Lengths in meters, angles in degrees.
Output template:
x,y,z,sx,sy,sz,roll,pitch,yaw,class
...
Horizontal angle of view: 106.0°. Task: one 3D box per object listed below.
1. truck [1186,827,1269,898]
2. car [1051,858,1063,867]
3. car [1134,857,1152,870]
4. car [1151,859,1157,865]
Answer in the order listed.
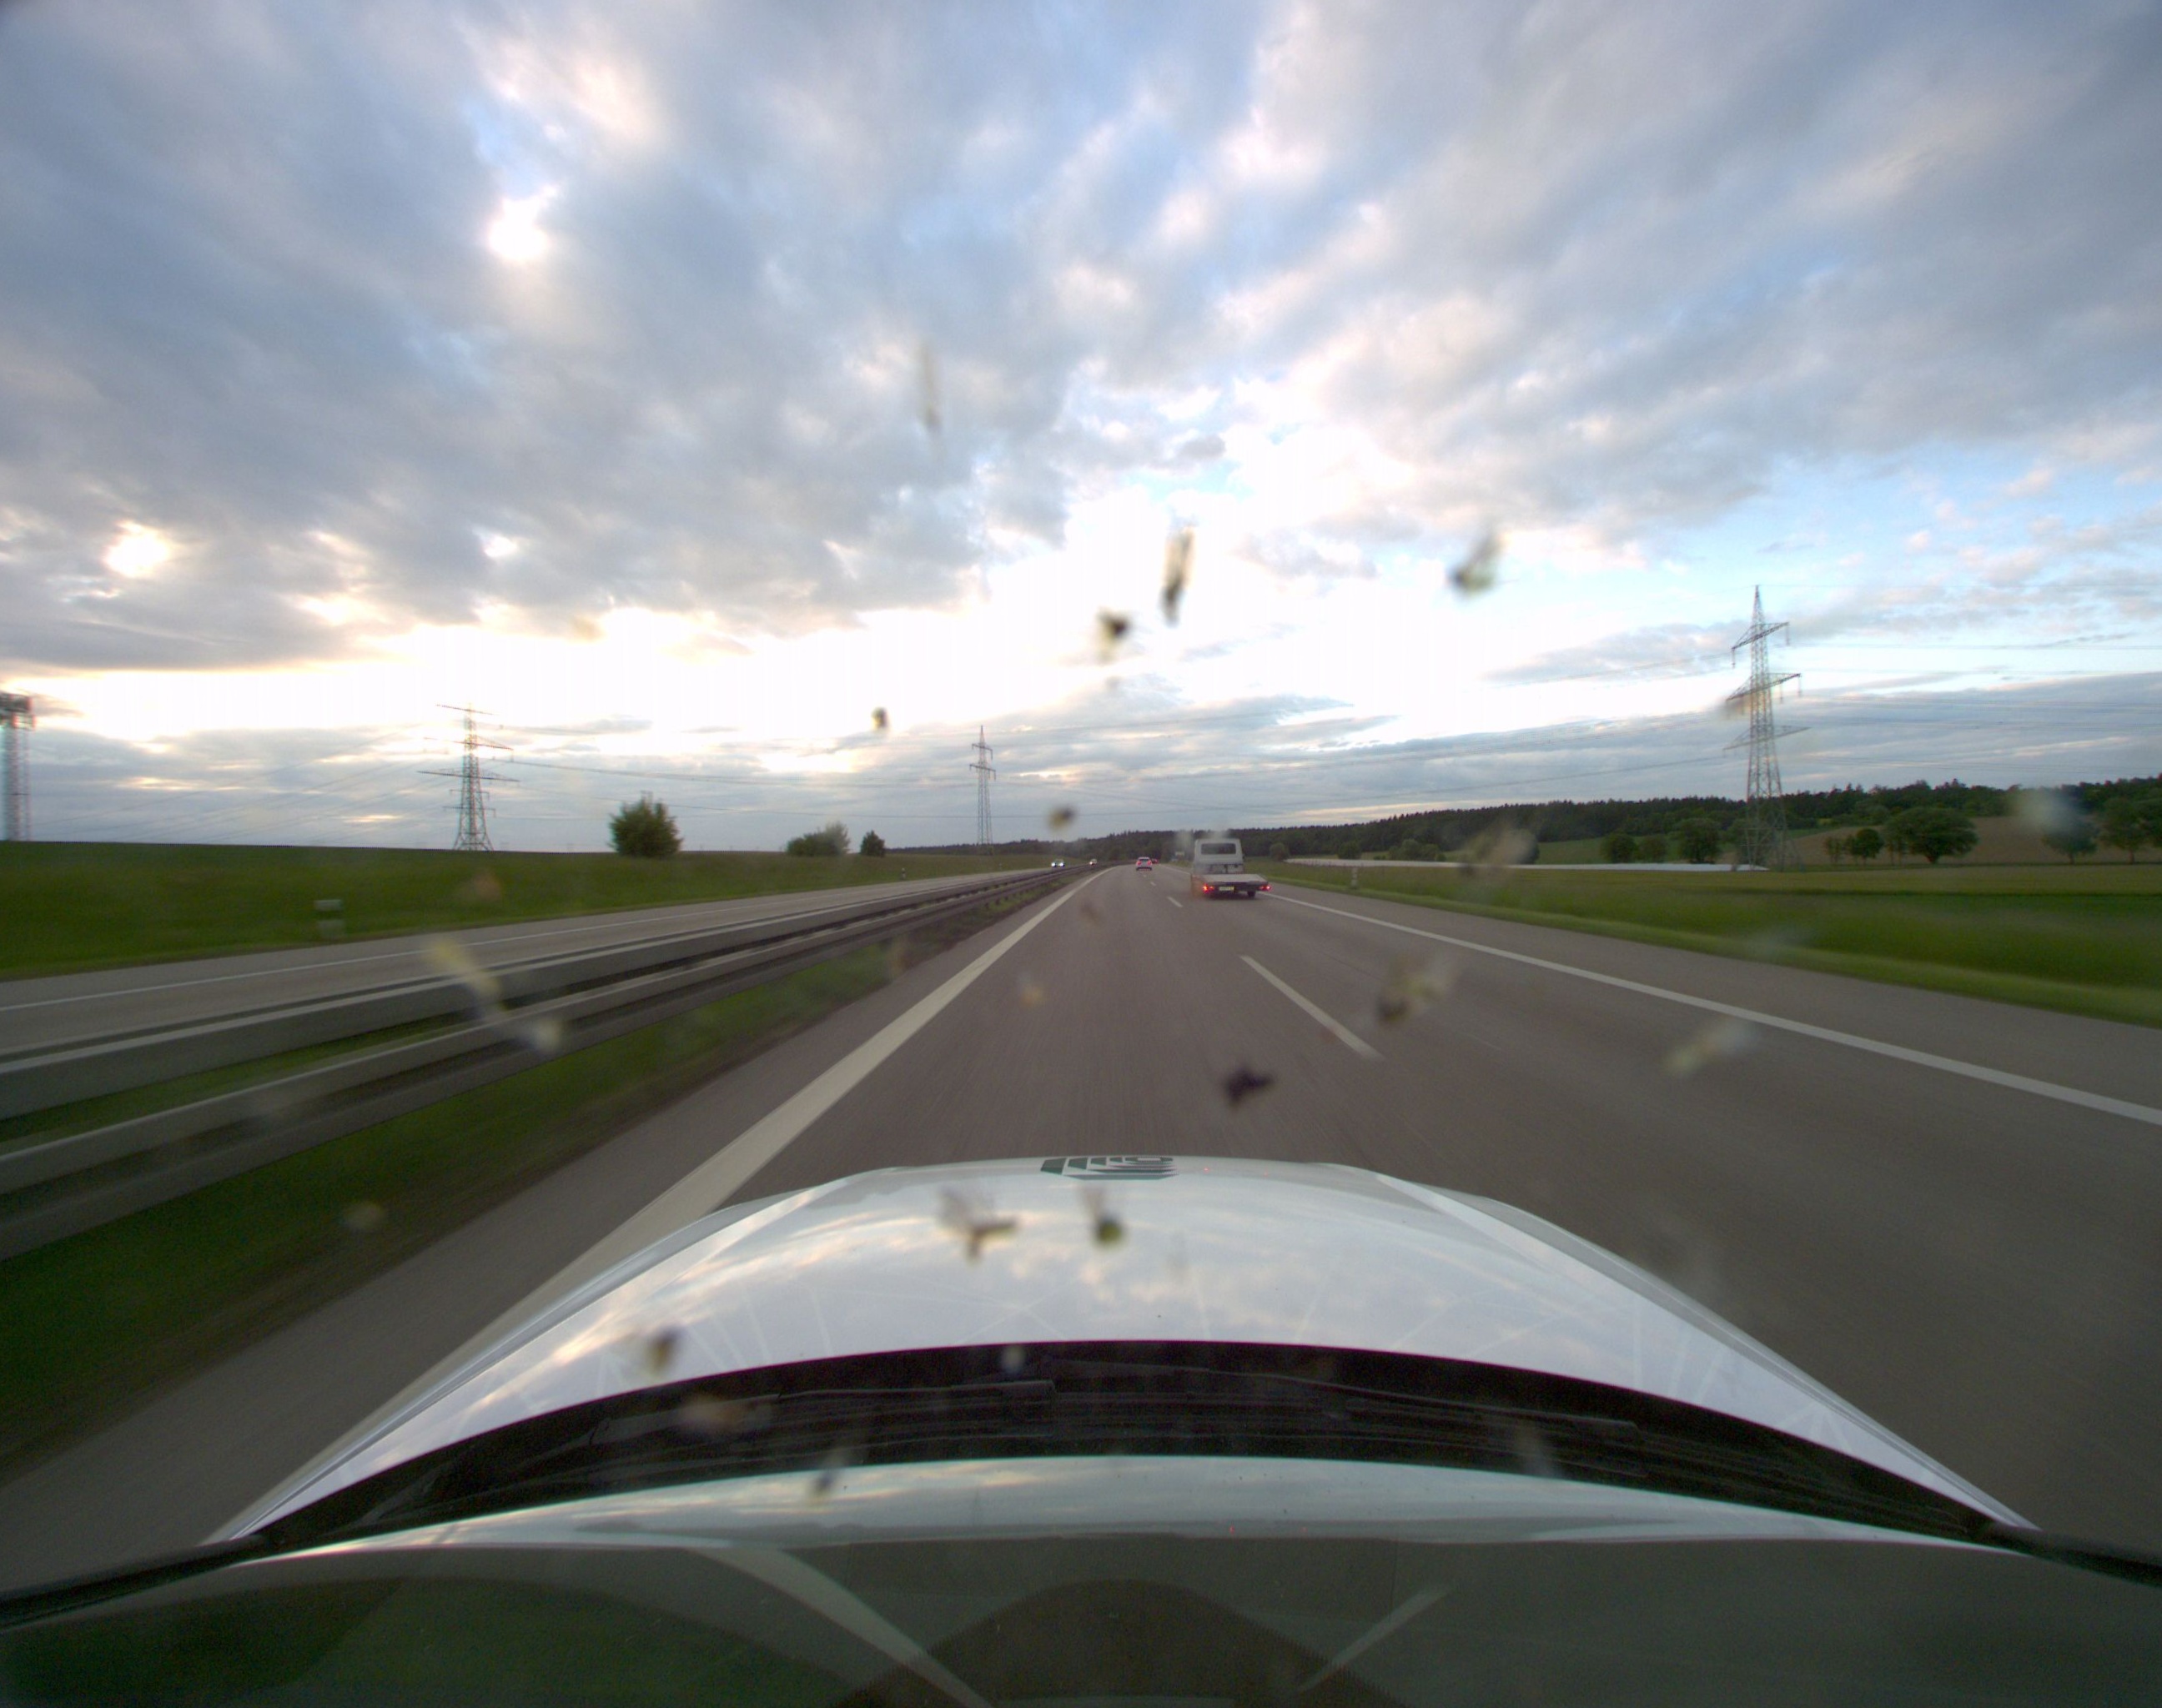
x,y,z,sx,sy,sz,roll,pitch,yaw,class
5.431,0.315,31.208,2.163,2.360,7.702,0,0,3,truck
-4.201,1.493,142.652,1.691,1.664,4.465,0,0,2,car
7.119,1.091,93.574,1.943,1.531,4.085,0,0,4,car
22.741,2.559,253.941,1.943,1.731,4.084,0,0,4,car
